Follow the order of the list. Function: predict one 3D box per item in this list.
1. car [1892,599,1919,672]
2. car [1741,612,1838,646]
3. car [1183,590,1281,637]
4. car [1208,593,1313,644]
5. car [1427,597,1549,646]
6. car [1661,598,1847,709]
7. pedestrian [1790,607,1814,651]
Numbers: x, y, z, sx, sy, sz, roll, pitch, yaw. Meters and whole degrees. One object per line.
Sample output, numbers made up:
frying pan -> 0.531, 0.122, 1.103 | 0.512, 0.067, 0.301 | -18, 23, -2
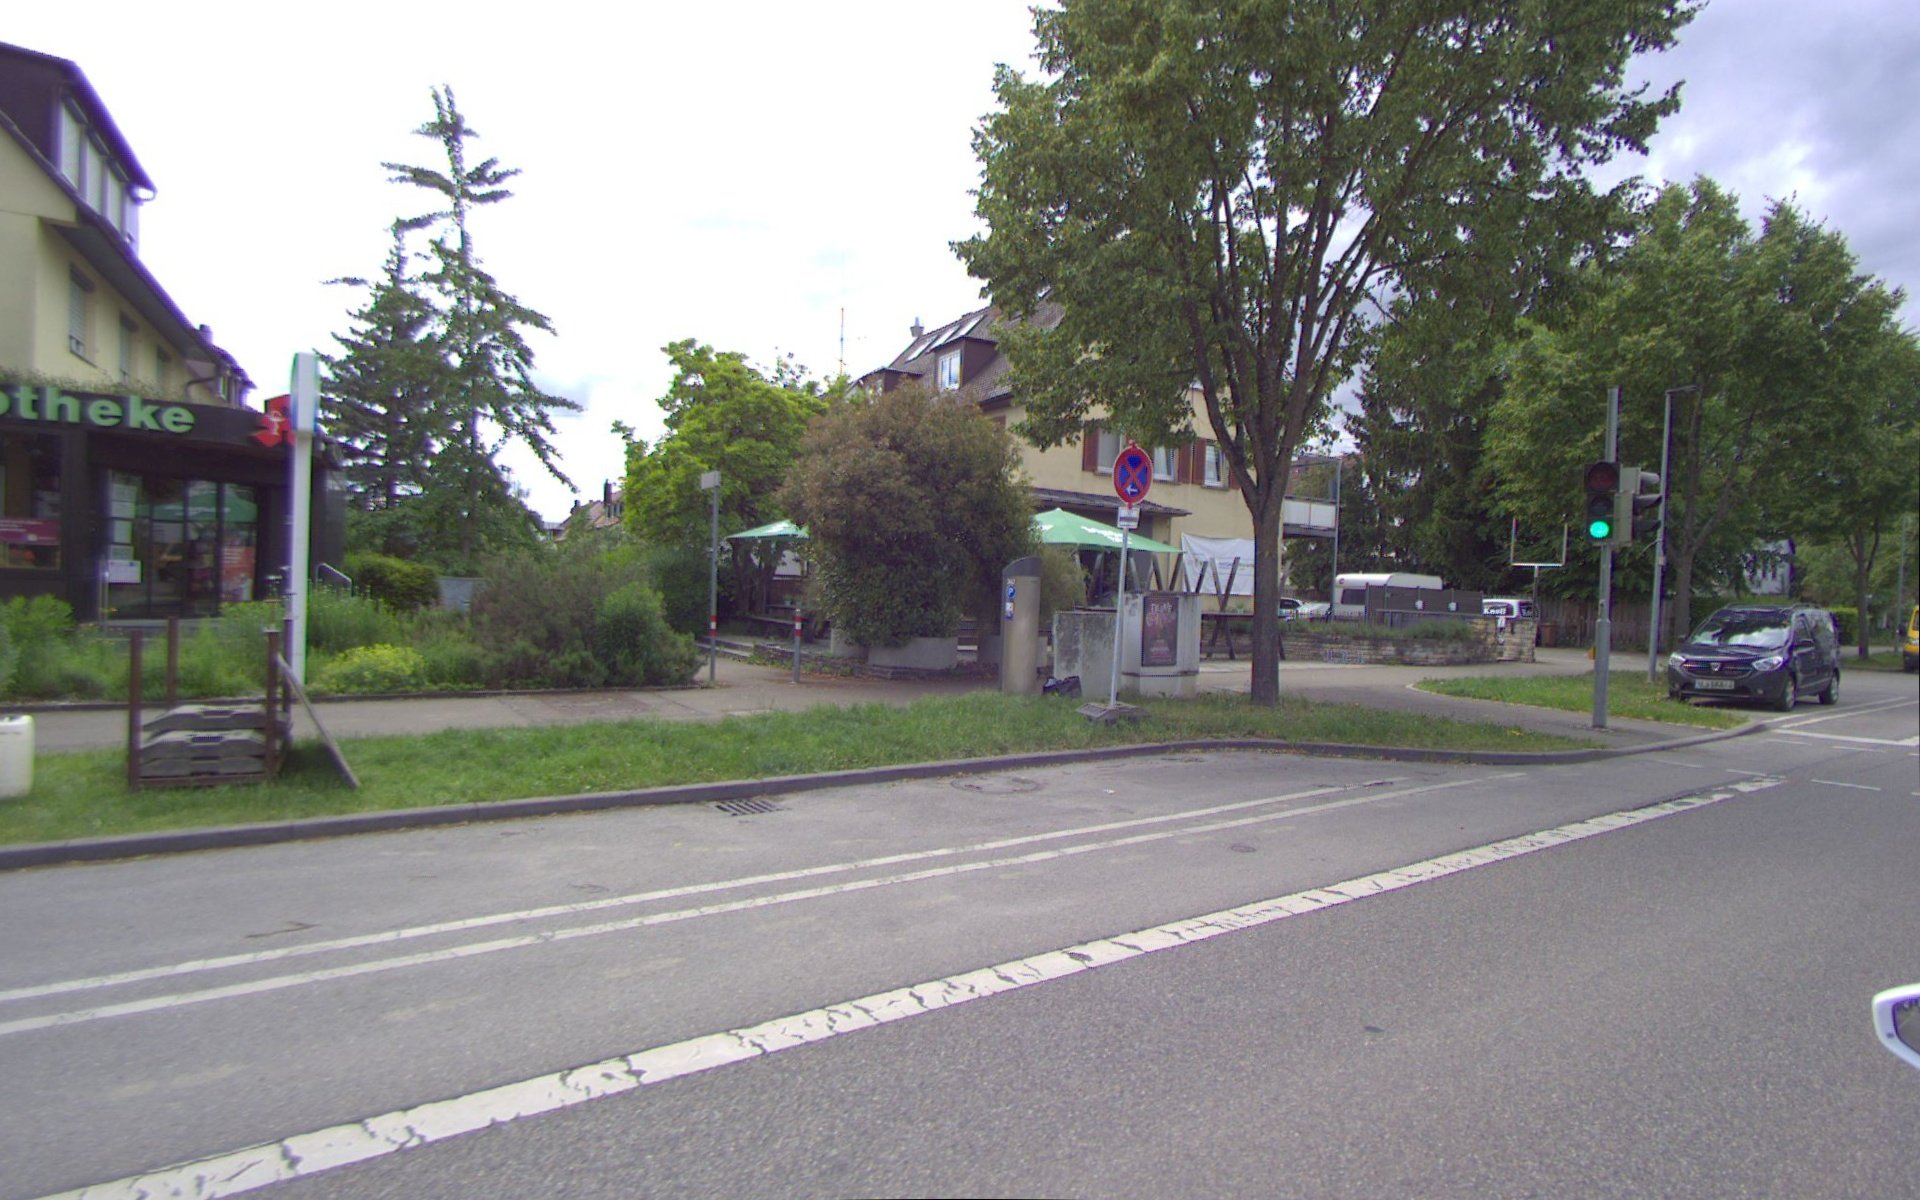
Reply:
car -> 31.521, 1.150, 31.899 | 5.000, 2.204, 2.076 | 1, 0, -38
car -> 43.258, 1.480, 52.440 | 1.663, 1.615, 3.655 | 1, 0, -37
car -> 11.173, 0.553, 41.254 | 3.728, 1.793, 1.588 | 2, 0, -26
car -> 11.473, 0.710, 38.342 | 3.728, 1.793, 1.588 | 2, 0, -26
car -> 20.934, 0.825, 39.979 | 1.725, 1.793, 3.968 | 2, 0, -30
car -> 14.535, 0.915, 18.312 | 4.427, 1.795, 1.655 | 1, -1, -38
pedestrian -> 33.826, 1.160, 40.362 | 0.569, 1.765, 0.590 | 1, 1, -38
